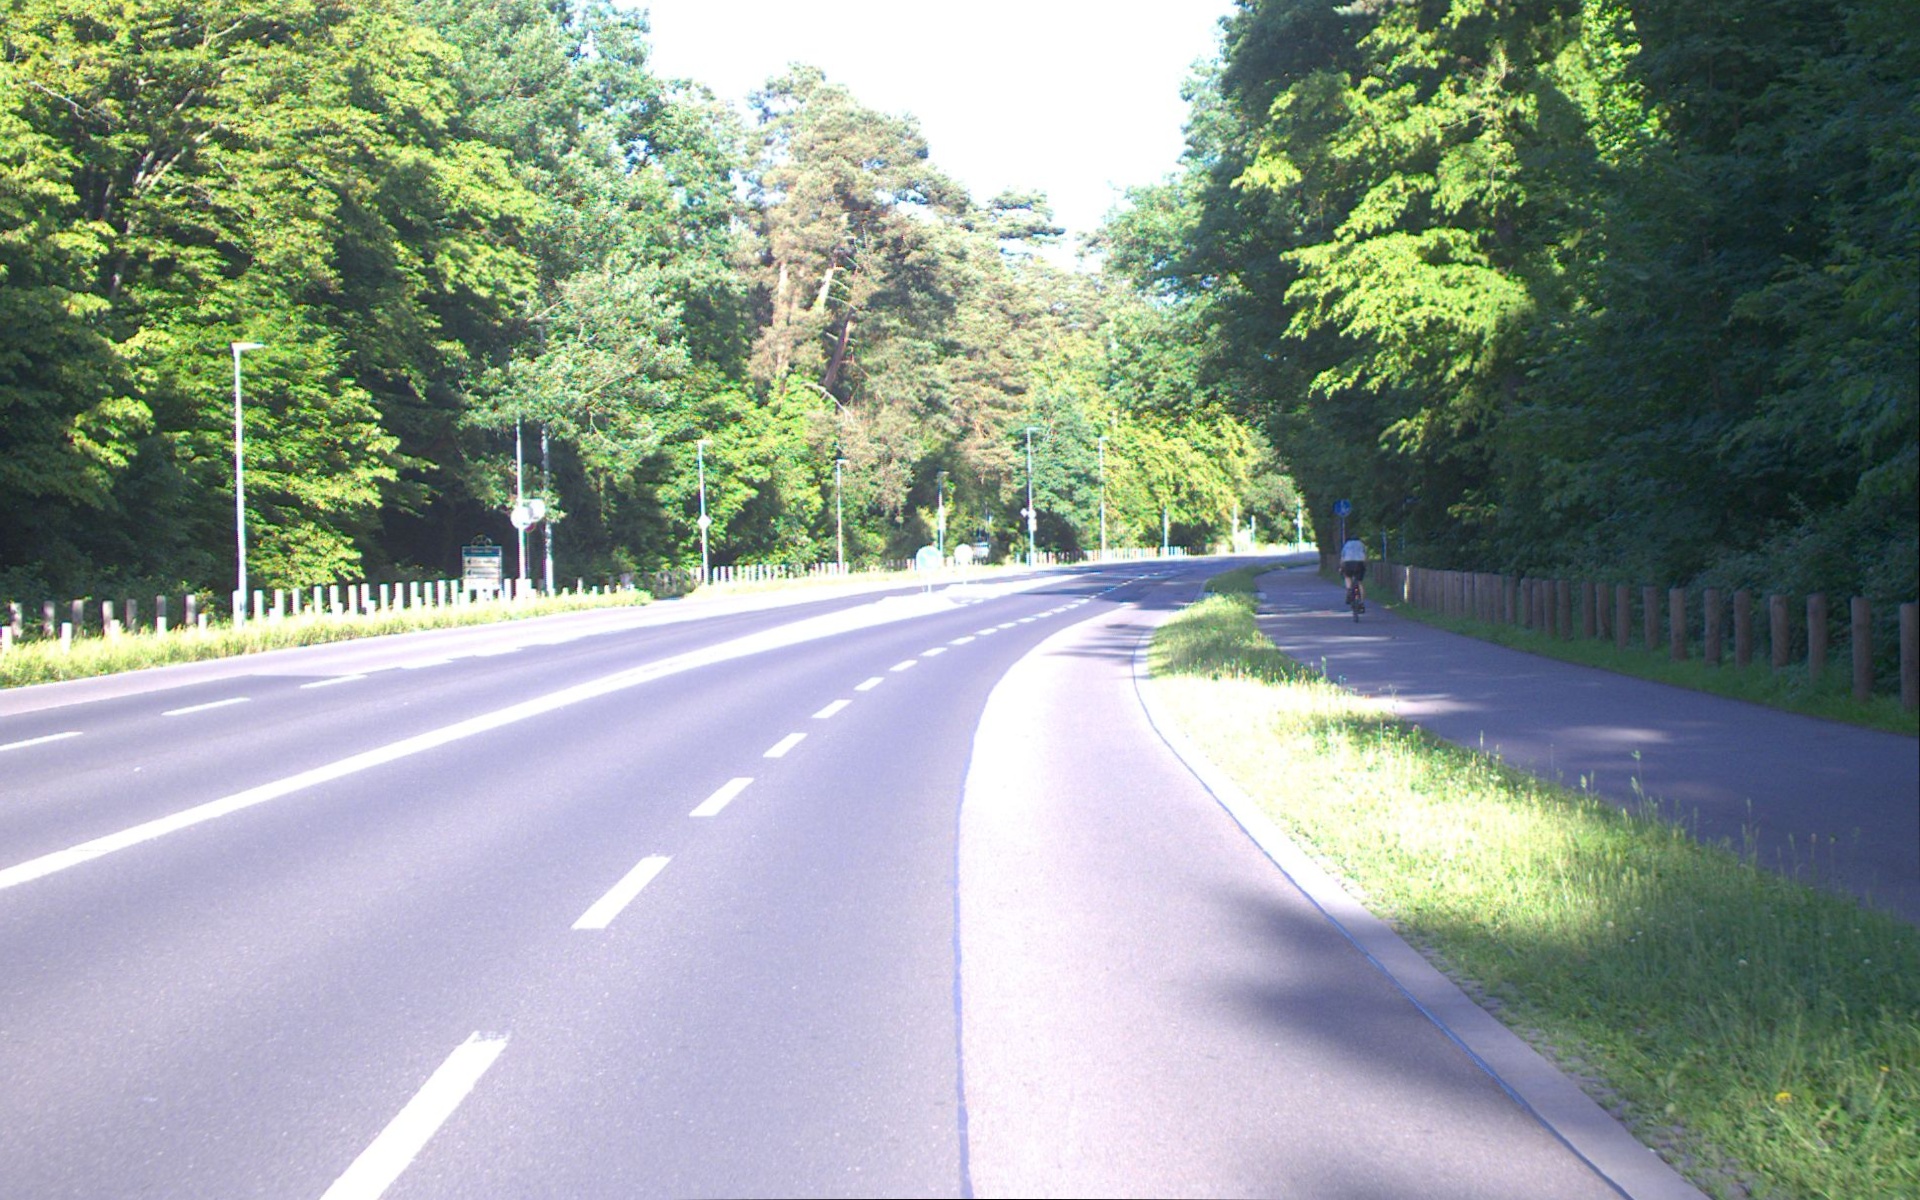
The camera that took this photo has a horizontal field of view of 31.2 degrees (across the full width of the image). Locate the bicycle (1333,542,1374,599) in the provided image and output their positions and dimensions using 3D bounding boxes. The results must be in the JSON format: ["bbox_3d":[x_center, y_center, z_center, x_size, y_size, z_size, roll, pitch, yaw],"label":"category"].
[{"bbox_3d":[7.389,-0.540,64.641,0.712,1.052,2.052,-1,0,5],"label":"bicycle"}]

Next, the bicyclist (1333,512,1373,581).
[{"bbox_3d":[7.392,-0.999,64.671,0.712,1.284,1.104,-1,0,5],"label":"bicyclist"}]
